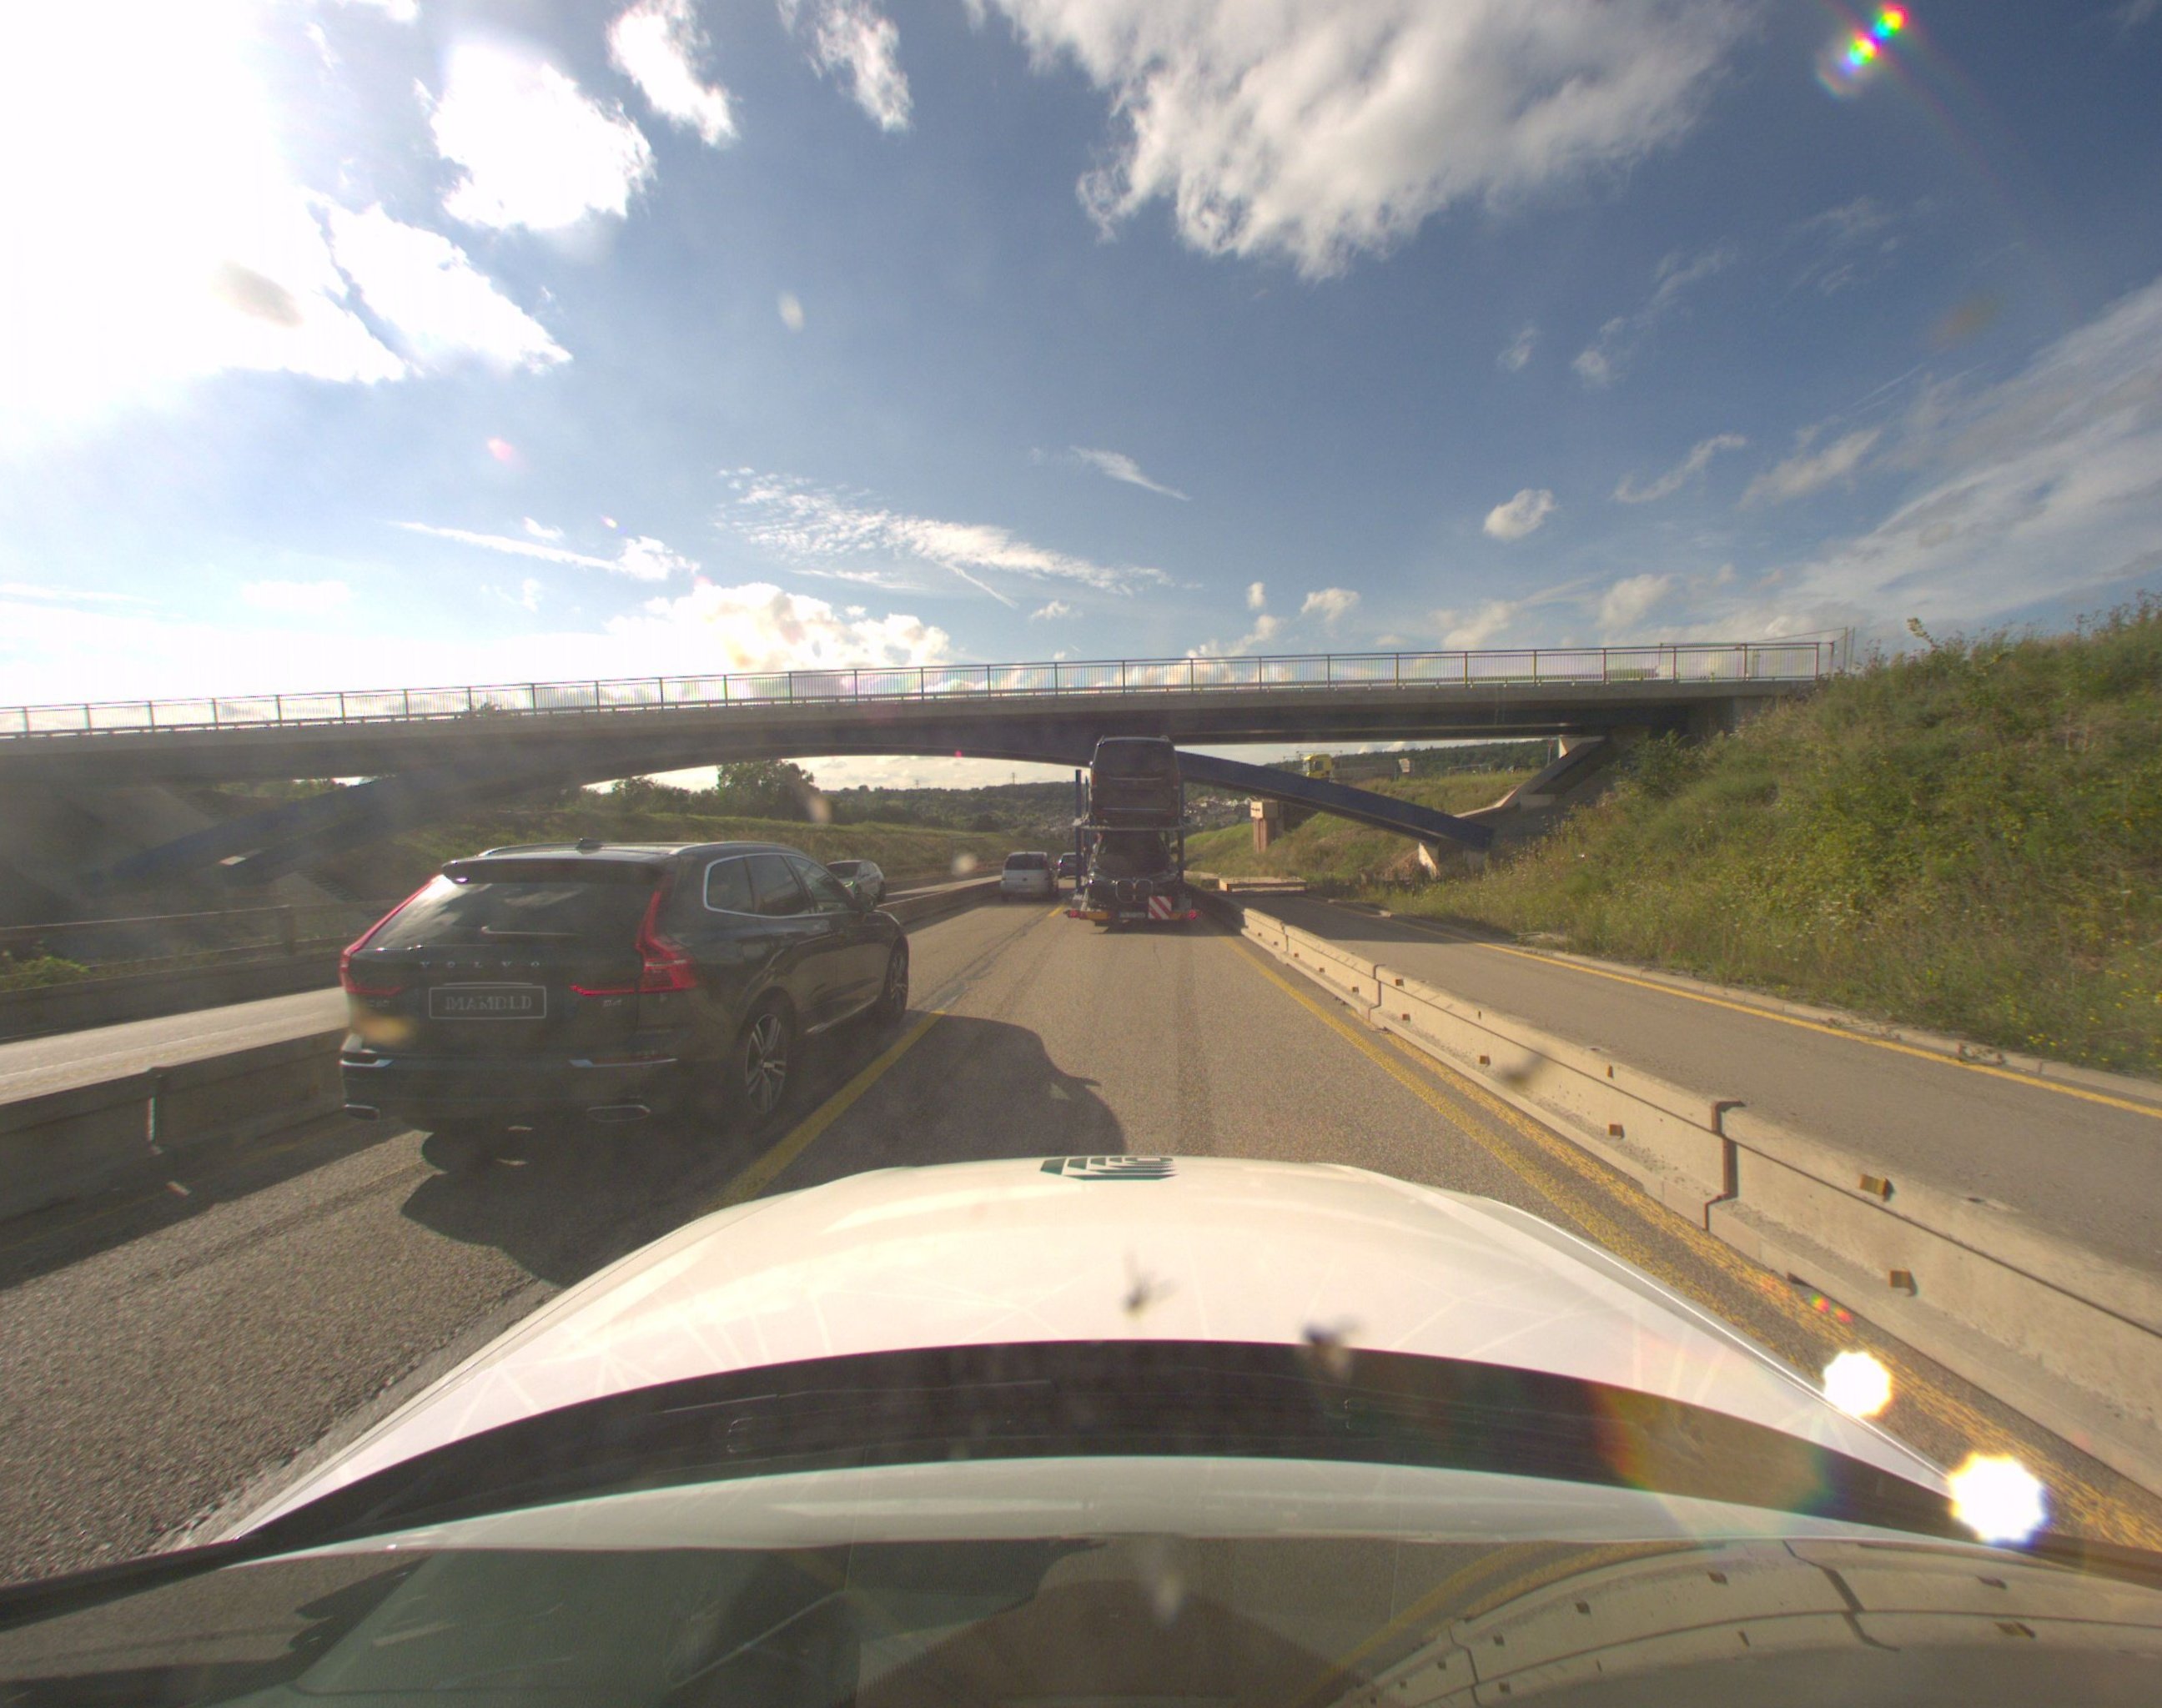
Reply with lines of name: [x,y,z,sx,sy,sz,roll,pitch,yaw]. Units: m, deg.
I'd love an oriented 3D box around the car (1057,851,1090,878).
car: [-0.411,0.627,49.515,1.789,1.530,4.298,-1,0,2]

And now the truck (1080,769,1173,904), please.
truck: [1.487,-0.510,27.024,2.667,3.922,6.032,-1,0,3]

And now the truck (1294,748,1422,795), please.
truck: [22.048,-6.548,65.222,9.226,3.228,2.962,-1,0,2]

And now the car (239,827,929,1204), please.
car: [-2.641,0.702,5.964,1.986,1.625,4.752,-1,0,2]

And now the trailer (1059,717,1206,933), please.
trailer: [1.199,-0.543,21.041,2.697,4.029,11.426,-1,0,2]

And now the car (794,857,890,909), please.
car: [-8.079,0.938,27.986,1.816,1.492,4.220,-4,0,2]

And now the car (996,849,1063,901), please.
car: [-1.669,0.656,27.946,1.789,1.596,4.745,-1,0,2]
